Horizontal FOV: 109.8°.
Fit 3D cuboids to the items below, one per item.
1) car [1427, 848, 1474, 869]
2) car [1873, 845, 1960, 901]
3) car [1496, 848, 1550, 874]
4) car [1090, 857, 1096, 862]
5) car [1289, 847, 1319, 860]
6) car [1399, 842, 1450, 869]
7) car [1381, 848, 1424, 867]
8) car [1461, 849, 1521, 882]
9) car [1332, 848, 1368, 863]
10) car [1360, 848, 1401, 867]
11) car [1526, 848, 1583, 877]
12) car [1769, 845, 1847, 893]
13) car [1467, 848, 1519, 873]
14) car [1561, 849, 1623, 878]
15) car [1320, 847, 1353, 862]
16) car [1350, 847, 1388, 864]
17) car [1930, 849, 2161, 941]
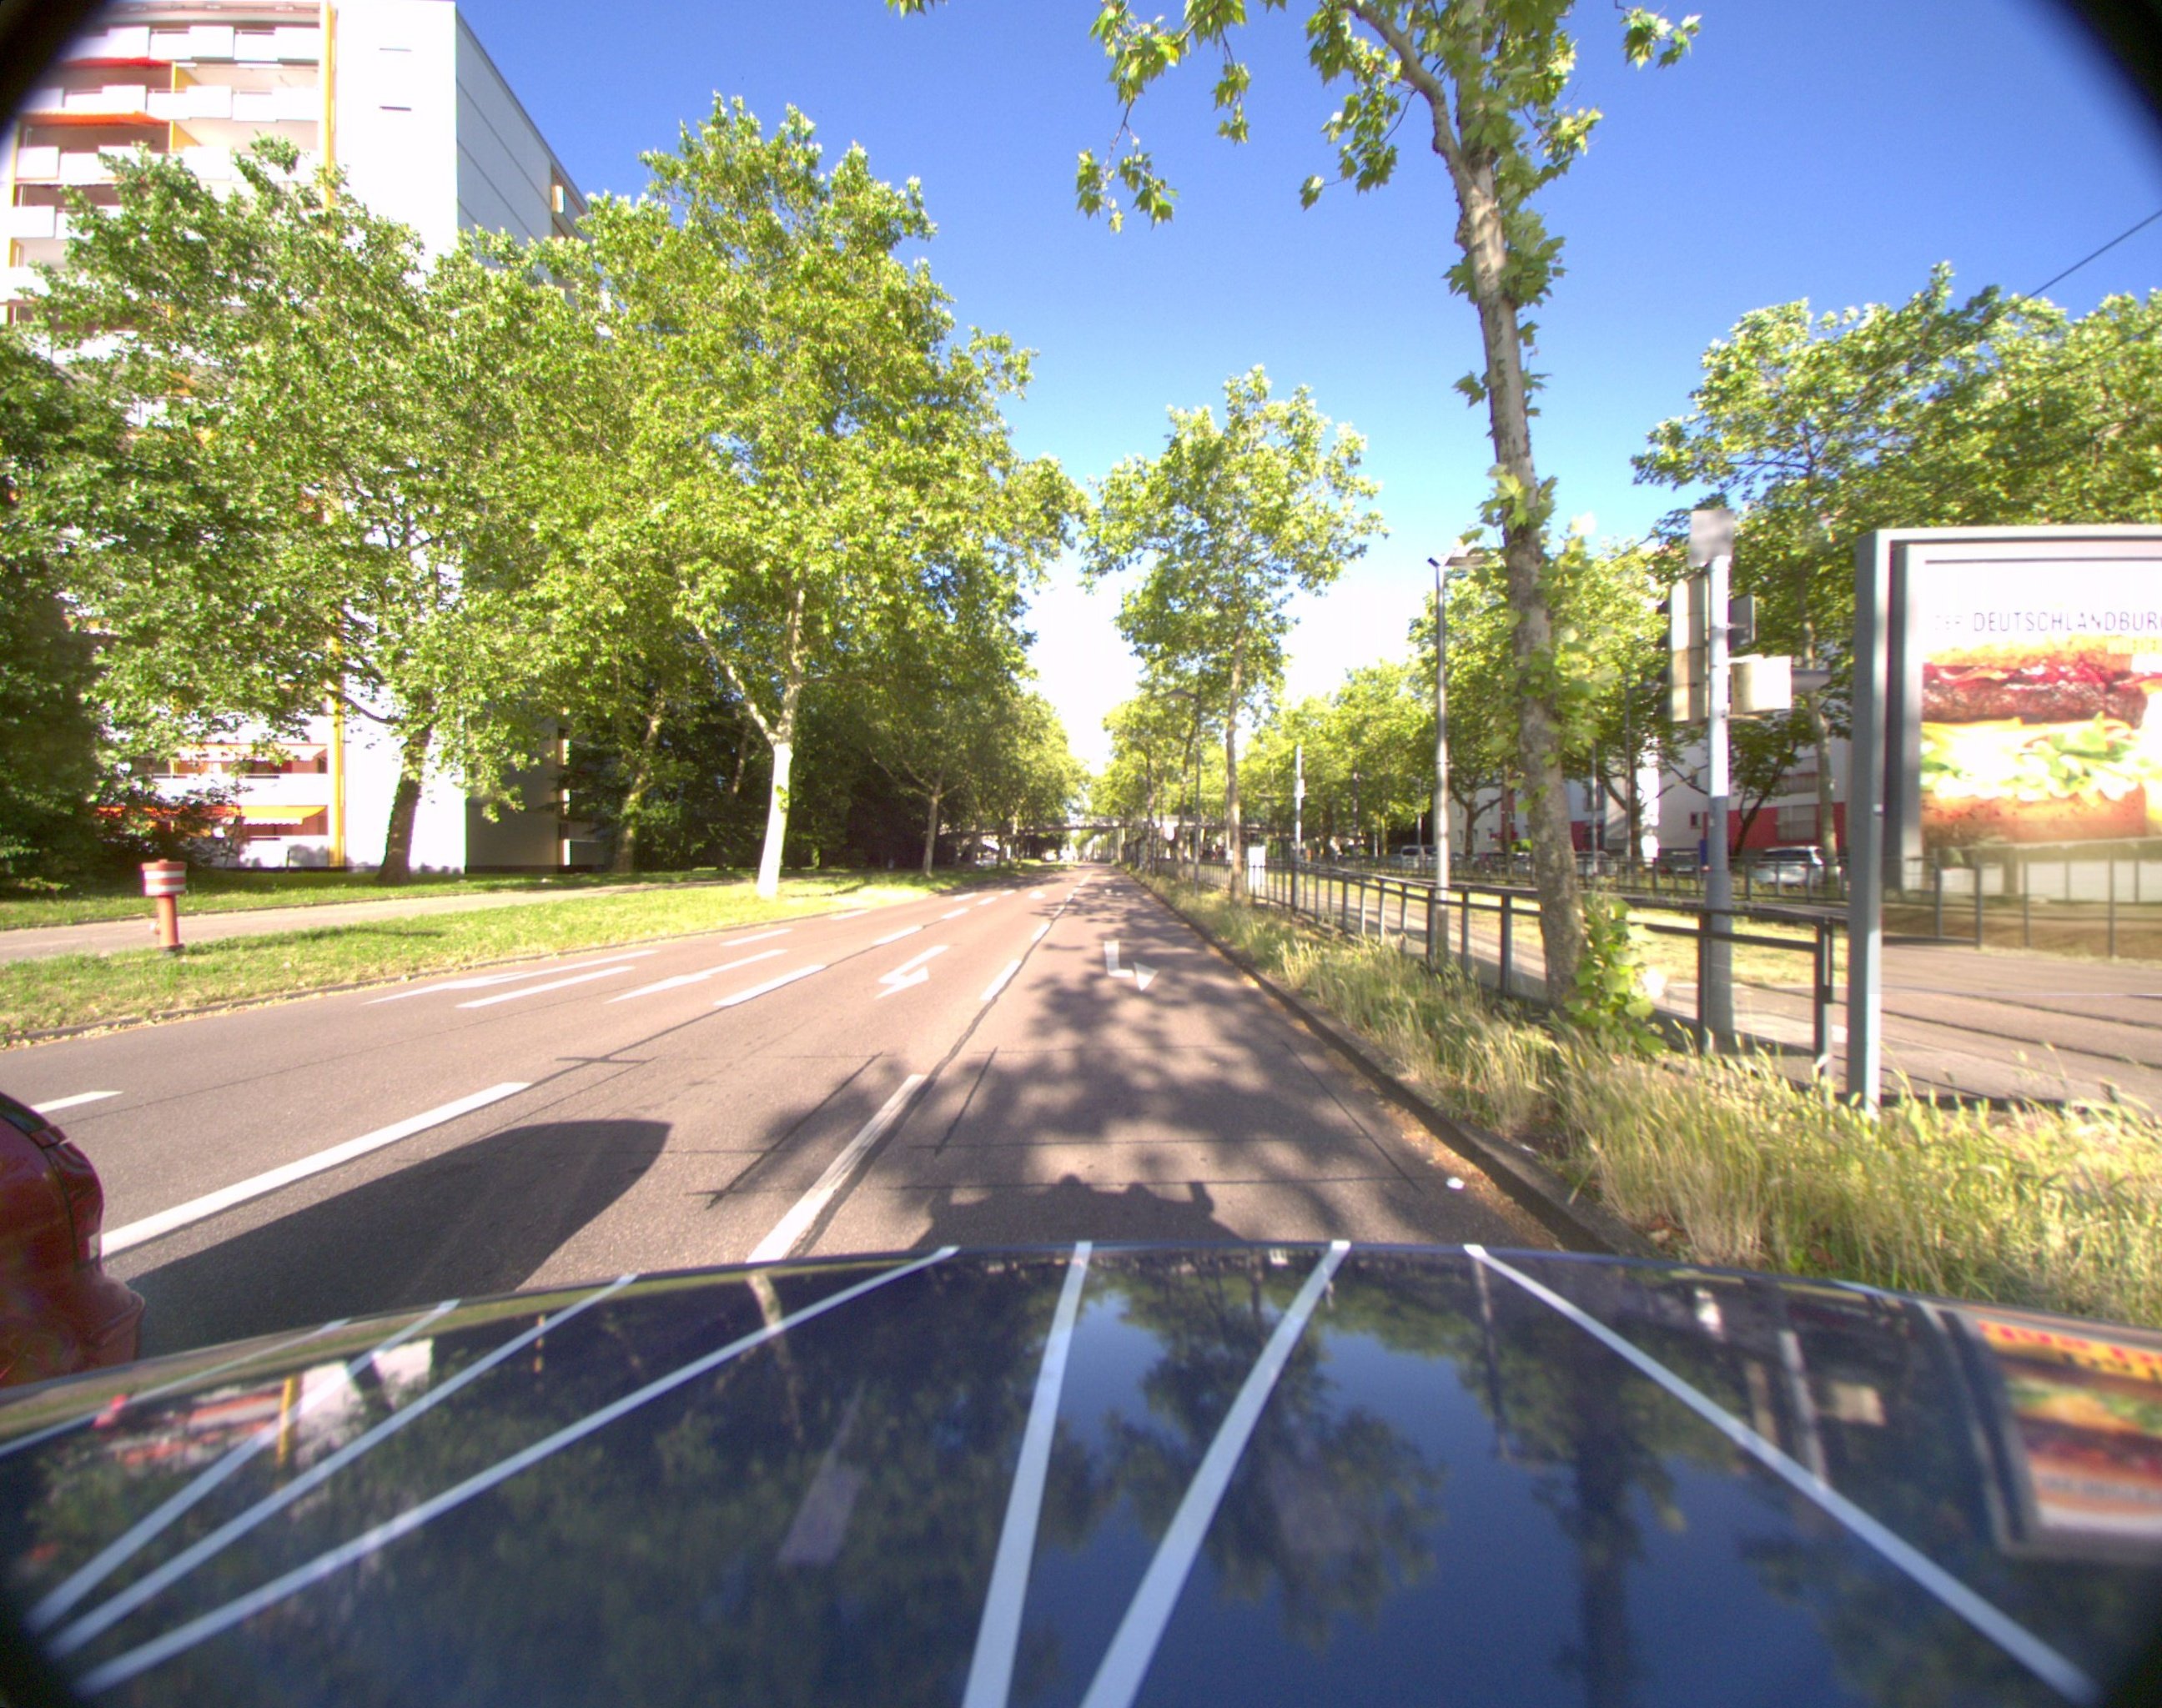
[{"bbox_3d":[26.306,0.315,54.031,3.811,1.433,1.652,-2,0,-42],"label":"car"},{"bbox_3d":[25.247,0.528,22.965,3.811,1.501,1.652,-2,0,-42],"label":"car"},{"bbox_3d":[26.102,0.411,44.863,3.811,1.433,1.652,-2,0,-42],"label":"car"},{"bbox_3d":[3.316,1.449,204.586,1.580,1.395,3.638,-2,0,0],"label":"car"},{"bbox_3d":[26.444,-0.041,89.973,3.811,1.433,1.652,-2,0,-42],"label":"car"},{"bbox_3d":[25.822,0.095,57.028,4.330,1.863,1.836,-2,0,-42],"label":"car"},{"bbox_3d":[25.734,0.275,60.751,3.811,1.433,1.652,-2,0,-42],"label":"car"},{"bbox_3d":[20.476,0.551,38.039,1.579,1.548,2.817,-2,0,3],"label":"car"},{"bbox_3d":[26.070,0.140,73.563,3.811,1.433,1.652,-2,0,-42],"label":"car"},{"bbox_3d":[24.947,0.278,63.208,3.811,1.433,1.652,-2,0,-42],"label":"car"},{"bbox_3d":[25.867,0.448,41.477,3.811,1.433,1.652,-2,0,-42],"label":"car"},{"bbox_3d":[25.361,0.493,26.474,3.811,1.501,1.652,-2,0,-42],"label":"car"},{"bbox_3d":[25.855,0.402,47.677,3.811,1.433,1.652,-2,0,-42],"label":"car"},{"bbox_3d":[25.386,0.452,37.696,3.811,1.348,1.652,-2,0,-42],"label":"car"},{"bbox_3d":[26.791,0.052,79.624,3.811,1.433,1.652,-2,0,-42],"label":"car"},{"bbox_3d":[26.623,0.141,70.132,3.811,1.433,1.652,-2,0,-42],"label":"car"},{"bbox_3d":[18.789,0.678,13.777,1.655,1.501,4.643,-2,0,1],"label":"car"}]
